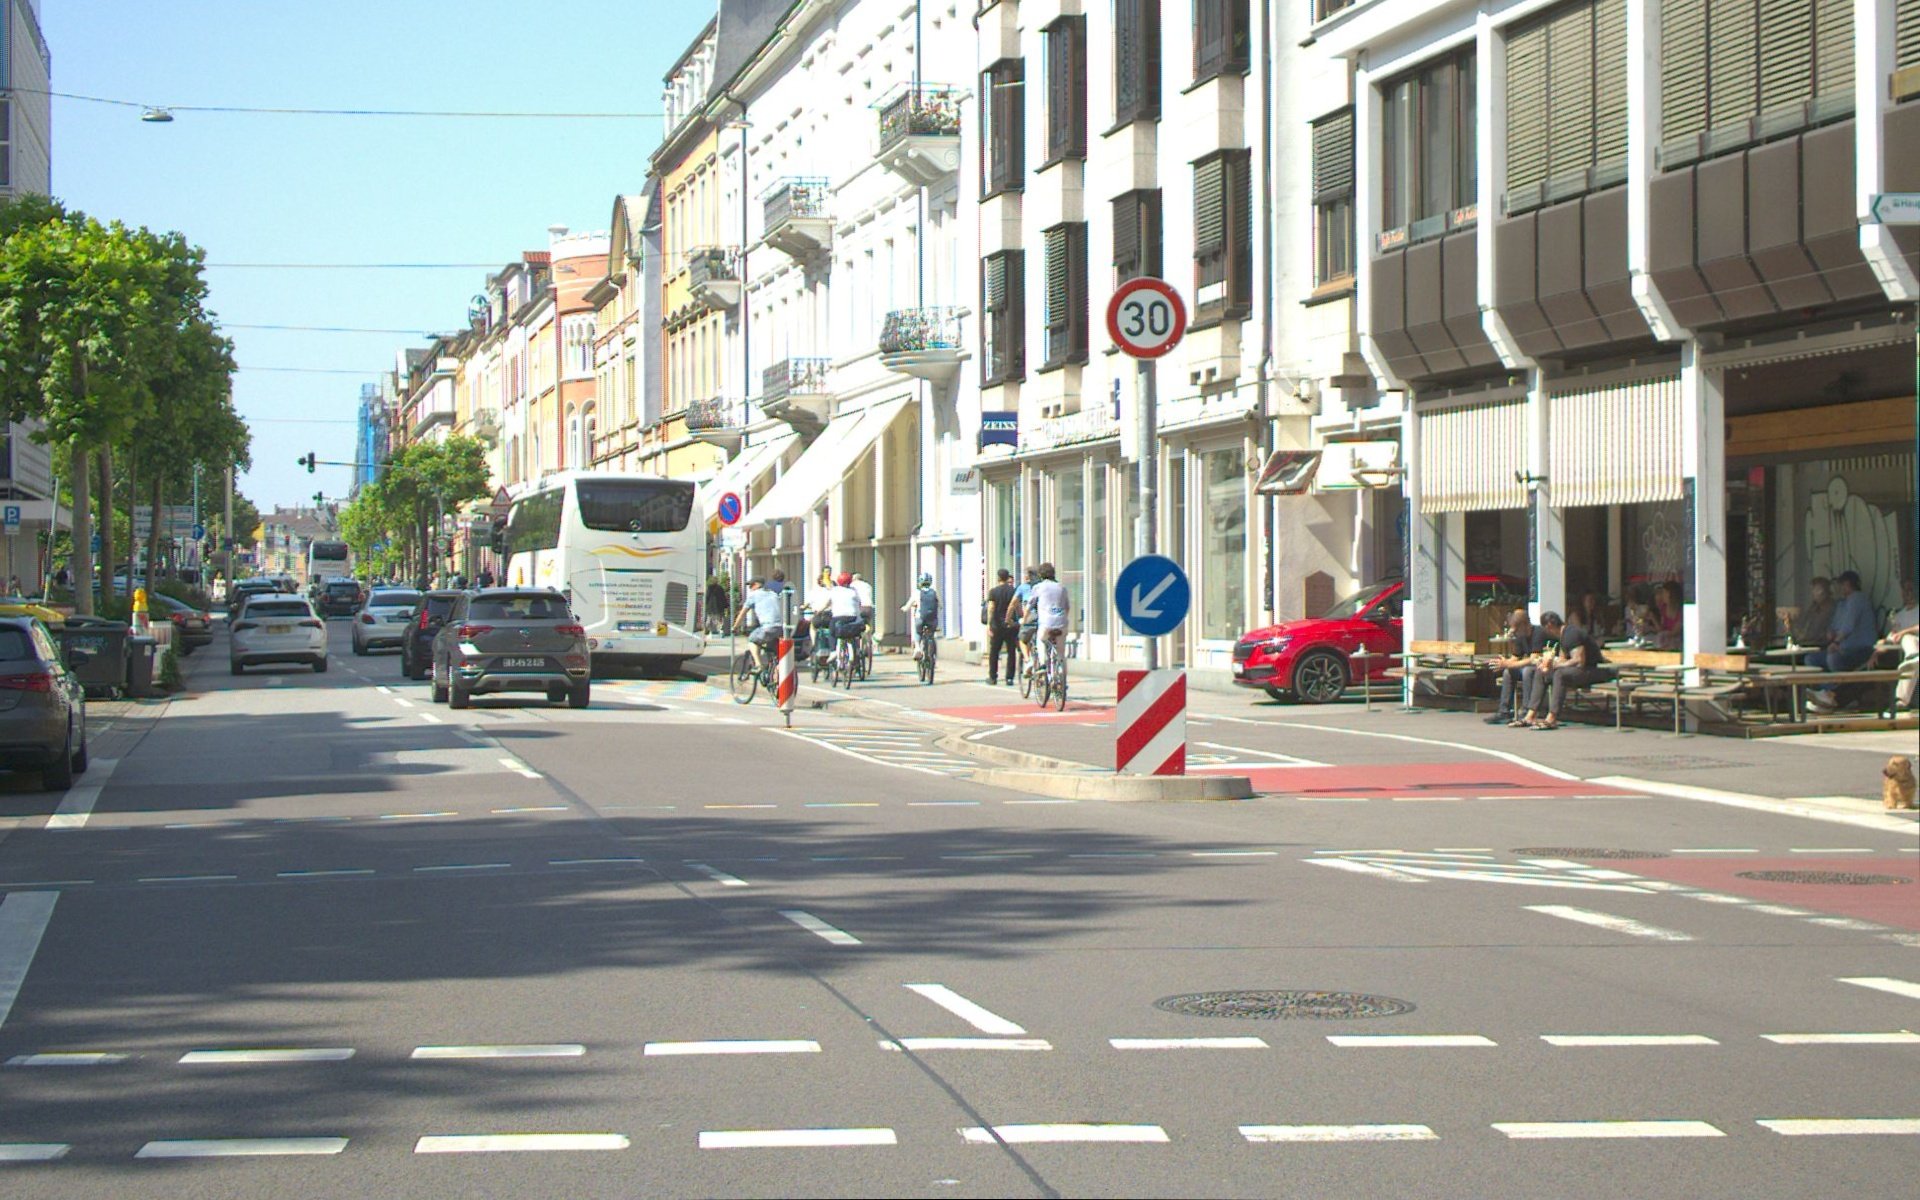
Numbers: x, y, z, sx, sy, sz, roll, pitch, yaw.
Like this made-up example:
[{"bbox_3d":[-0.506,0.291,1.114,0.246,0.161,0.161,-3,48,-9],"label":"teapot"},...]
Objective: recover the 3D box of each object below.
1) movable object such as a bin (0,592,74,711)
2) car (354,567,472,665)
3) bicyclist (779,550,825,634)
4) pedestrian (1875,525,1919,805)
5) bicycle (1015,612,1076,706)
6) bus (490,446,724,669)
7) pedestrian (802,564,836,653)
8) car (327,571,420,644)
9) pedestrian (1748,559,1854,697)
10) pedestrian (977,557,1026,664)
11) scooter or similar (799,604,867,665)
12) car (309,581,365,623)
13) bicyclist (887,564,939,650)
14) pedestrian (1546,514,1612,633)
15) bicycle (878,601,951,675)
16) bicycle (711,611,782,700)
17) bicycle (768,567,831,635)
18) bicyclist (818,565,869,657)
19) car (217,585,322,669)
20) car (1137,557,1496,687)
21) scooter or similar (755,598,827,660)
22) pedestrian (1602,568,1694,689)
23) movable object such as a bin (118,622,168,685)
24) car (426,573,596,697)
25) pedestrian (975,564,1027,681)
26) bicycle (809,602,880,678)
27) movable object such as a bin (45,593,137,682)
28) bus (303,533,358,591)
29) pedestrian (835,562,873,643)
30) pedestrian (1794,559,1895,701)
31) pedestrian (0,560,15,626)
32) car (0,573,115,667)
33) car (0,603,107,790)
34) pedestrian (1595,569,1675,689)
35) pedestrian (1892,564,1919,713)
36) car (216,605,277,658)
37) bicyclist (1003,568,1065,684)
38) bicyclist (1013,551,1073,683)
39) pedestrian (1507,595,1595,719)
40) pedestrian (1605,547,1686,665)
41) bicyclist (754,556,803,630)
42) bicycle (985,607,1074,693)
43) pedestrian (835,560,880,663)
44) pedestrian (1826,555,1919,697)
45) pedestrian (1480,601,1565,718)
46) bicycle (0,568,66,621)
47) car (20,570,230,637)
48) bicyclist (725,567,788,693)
[{"bbox_3d":[-12.044,0.644,43.993,1.123,1.446,1.439,1,1,-6],"label":"movable object such as a bin"},{"bbox_3d":[-9.272,0.283,58.118,1.832,1.522,4.001,-2,0,-10],"label":"car"},{"bbox_3d":[-2.590,-0.130,56.259,0.620,1.366,0.781,0,0,-13],"label":"bicyclist"},{"bbox_3d":[6.630,0.424,22.886,0.832,1.829,0.697,-1,-1,-3],"label":"pedestrian"},{"bbox_3d":[1.059,0.728,42.990,0.594,1.116,1.801,-1,1,-4],"label":"bicycle"},{"bbox_3d":[-6.847,-0.778,64.787,2.880,3.729,12.430,1,0,-13],"label":"bus"},{"bbox_3d":[-2.820,0.176,68.707,0.573,1.772,1.020,0,-1,-9],"label":"pedestrian"},{"bbox_3d":[-13.118,0.197,76.761,1.832,1.522,4.001,-2,0,-12],"label":"car"},{"bbox_3d":[8.607,0.288,35.203,0.813,1.392,0.697,0,-1,-13],"label":"pedestrian"},{"bbox_3d":[0.660,0.167,54.953,0.694,1.680,0.835,-1,0,-3],"label":"pedestrian"},{"bbox_3d":[-2.025,0.542,54.719,0.865,0.953,1.213,0,0,-13],"label":"scooter or similar"},{"bbox_3d":[-22.519,0.053,124.194,1.862,1.436,4.001,-1,1,-12],"label":"car"},{"bbox_3d":[-0.727,0.106,52.552,0.620,1.292,0.867,0,0,-13],"label":"bicyclist"},{"bbox_3d":[7.183,-0.311,39.925,0.535,1.363,0.689,0,0,-11],"label":"pedestrian"},{"bbox_3d":[-0.700,0.566,52.443,0.620,1.095,2.353,0,0,-13],"label":"bicycle"},{"bbox_3d":[-2.947,0.747,47.284,0.664,1.116,2.244,1,1,-11],"label":"bicycle"},{"bbox_3d":[-2.647,0.013,56.538,0.620,1.095,2.353,0,0,-13],"label":"bicycle"},{"bbox_3d":[-1.742,0.168,51.498,0.620,1.366,0.781,0,0,-13],"label":"bicyclist"},{"bbox_3d":[-13.010,0.476,64.788,1.862,1.436,4.001,-1,1,-11],"label":"car"},{"bbox_3d":[4.382,0.282,42.583,4.043,1.489,1.842,-1,-2,-10],"label":"car"},{"bbox_3d":[-3.073,0.522,62.343,1.121,1.098,1.086,0,0,-13],"label":"scooter or similar"},{"bbox_3d":[7.804,0.318,38.994,0.876,1.363,0.537,0,0,-12],"label":"pedestrian"},{"bbox_3d":[-12.421,0.810,52.295,0.553,0.936,0.500,-3,2,-37],"label":"movable object such as a bin"},{"bbox_3d":[-5.893,0.439,44.784,1.832,1.522,4.001,1,0,-13],"label":"car"},{"bbox_3d":[0.601,0.333,51.023,0.620,1.714,0.835,-1,0,-9],"label":"pedestrian"},{"bbox_3d":[-1.738,0.589,51.499,0.620,1.095,2.353,0,0,-13],"label":"bicycle"},{"bbox_3d":[-12.803,0.547,50.692,1.277,1.295,0.854,0,0,-11],"label":"movable object such as a bin"},{"bbox_3d":[-39.784,-2.410,217.118,2.769,3.593,8.976,-1,1,-15],"label":"bus"},{"bbox_3d":[-2.147,0.059,69.623,0.645,1.612,0.822,-1,-1,-9],"label":"pedestrian"},{"bbox_3d":[8.843,0.303,34.391,0.711,1.392,0.697,-1,-1,-12],"label":"pedestrian"},{"bbox_3d":[-24.197,-0.179,86.888,0.565,1.651,0.637,0,0,-18],"label":"pedestrian"},{"bbox_3d":[-16.638,0.303,58.753,4.051,1.489,1.932,1,1,30],"label":"car"},{"bbox_3d":[-8.162,0.750,28.257,1.936,1.350,4.251,-1,1,-10],"label":"car"},{"bbox_3d":[7.745,0.324,39.456,0.760,1.363,0.478,0,0,-12],"label":"pedestrian"},{"bbox_3d":[9.275,0.362,32.327,0.711,1.392,0.697,-1,-1,-12],"label":"pedestrian"},{"bbox_3d":[-21.302,0.922,102.581,1.742,1.436,4.001,-1,1,-12],"label":"car"},{"bbox_3d":[0.978,0.334,45.588,0.620,1.524,0.869,0,0,-13],"label":"bicyclist"},{"bbox_3d":[1.026,0.202,42.775,0.694,1.620,0.835,-1,0,-1],"label":"bicyclist"},{"bbox_3d":[5.889,0.564,34.297,0.711,1.213,0.697,-1,-1,-3],"label":"pedestrian"},{"bbox_3d":[7.985,0.068,40.060,0.744,1.363,0.584,0,0,-12],"label":"pedestrian"},{"bbox_3d":[-3.370,-0.129,63.833,0.787,1.374,0.723,0,0,-13],"label":"bicyclist"},{"bbox_3d":[0.915,0.655,45.850,0.620,1.095,2.353,0,0,-13],"label":"bicycle"},{"bbox_3d":[-1.722,0.186,57.812,0.620,1.714,0.835,0,0,-11],"label":"pedestrian"},{"bbox_3d":[9.061,0.255,33.266,0.895,1.346,1.105,-1,-1,-12],"label":"pedestrian"},{"bbox_3d":[5.748,0.606,35.143,0.711,1.169,0.697,-1,-1,-3],"label":"pedestrian"},{"bbox_3d":[-23.698,-0.134,86.897,2.064,1.284,0.368,2,-1,-18],"label":"bicycle"},{"bbox_3d":[-19.727,0.067,81.141,4.789,1.418,1.880,2,1,29],"label":"car"},{"bbox_3d":[-2.795,0.406,47.150,0.694,1.668,0.916,2,1,-10],"label":"bicyclist"}]
